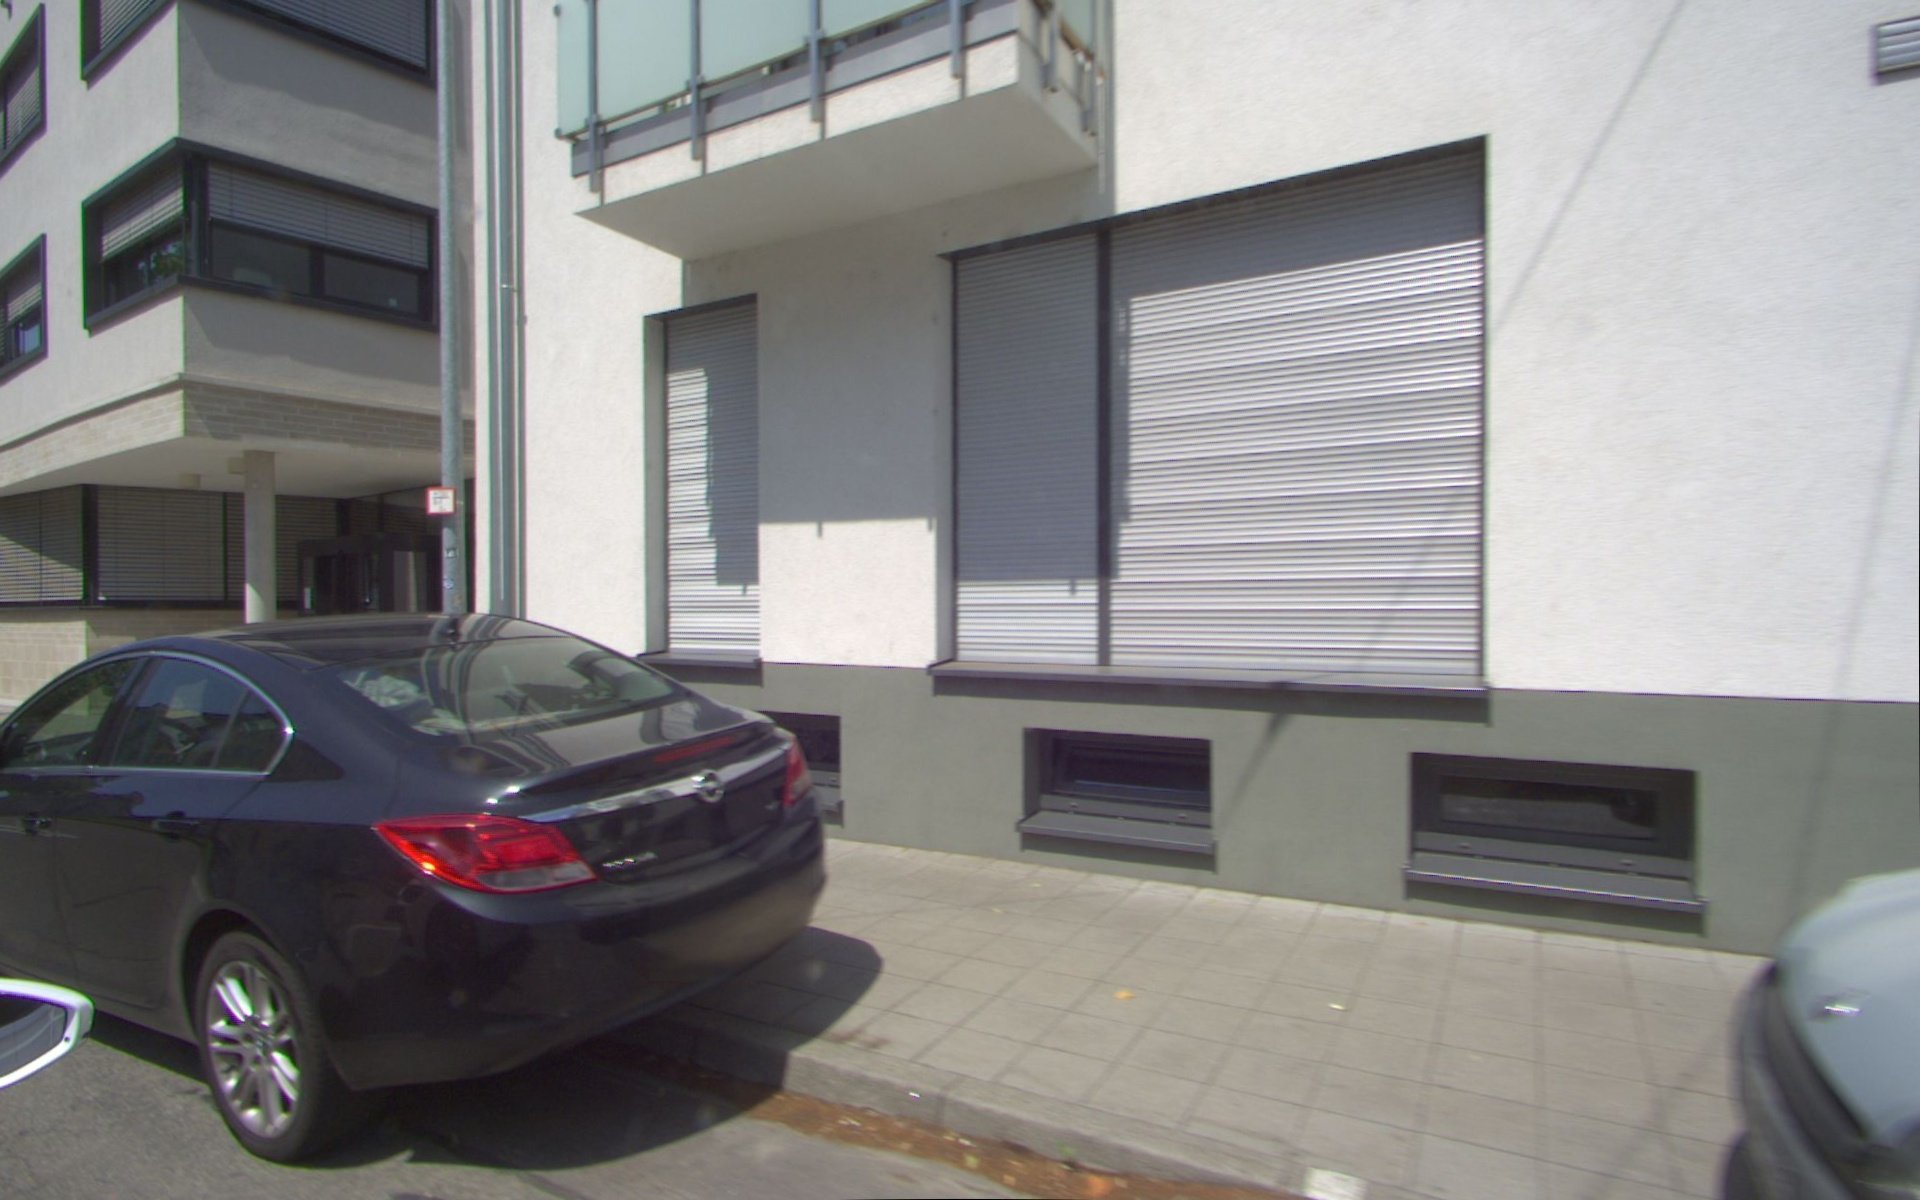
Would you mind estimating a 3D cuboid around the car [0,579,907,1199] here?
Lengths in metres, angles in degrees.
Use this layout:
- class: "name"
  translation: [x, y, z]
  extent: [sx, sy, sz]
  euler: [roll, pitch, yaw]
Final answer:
- class: "car"
  translation: [-2.613, 0.766, 4.097]
  extent: [4.478, 1.530, 1.797]
  euler: [-1, 2, 28]

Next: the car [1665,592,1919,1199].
- class: "car"
  translation: [3.062, 0.715, 1.043]
  extent: [3.651, 1.453, 1.589]
  euler: [-1, 2, 30]

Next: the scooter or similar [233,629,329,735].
- class: "scooter or similar"
  translation: [-8.246, 0.969, 12.159]
  extent: [1.294, 1.227, 0.422]
  euler: [0, 0, 29]

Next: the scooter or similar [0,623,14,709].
- class: "scooter or similar"
  translation: [-14.900, 0.989, 15.080]
  extent: [1.347, 1.277, 0.580]
  euler: [-1, 1, 31]
